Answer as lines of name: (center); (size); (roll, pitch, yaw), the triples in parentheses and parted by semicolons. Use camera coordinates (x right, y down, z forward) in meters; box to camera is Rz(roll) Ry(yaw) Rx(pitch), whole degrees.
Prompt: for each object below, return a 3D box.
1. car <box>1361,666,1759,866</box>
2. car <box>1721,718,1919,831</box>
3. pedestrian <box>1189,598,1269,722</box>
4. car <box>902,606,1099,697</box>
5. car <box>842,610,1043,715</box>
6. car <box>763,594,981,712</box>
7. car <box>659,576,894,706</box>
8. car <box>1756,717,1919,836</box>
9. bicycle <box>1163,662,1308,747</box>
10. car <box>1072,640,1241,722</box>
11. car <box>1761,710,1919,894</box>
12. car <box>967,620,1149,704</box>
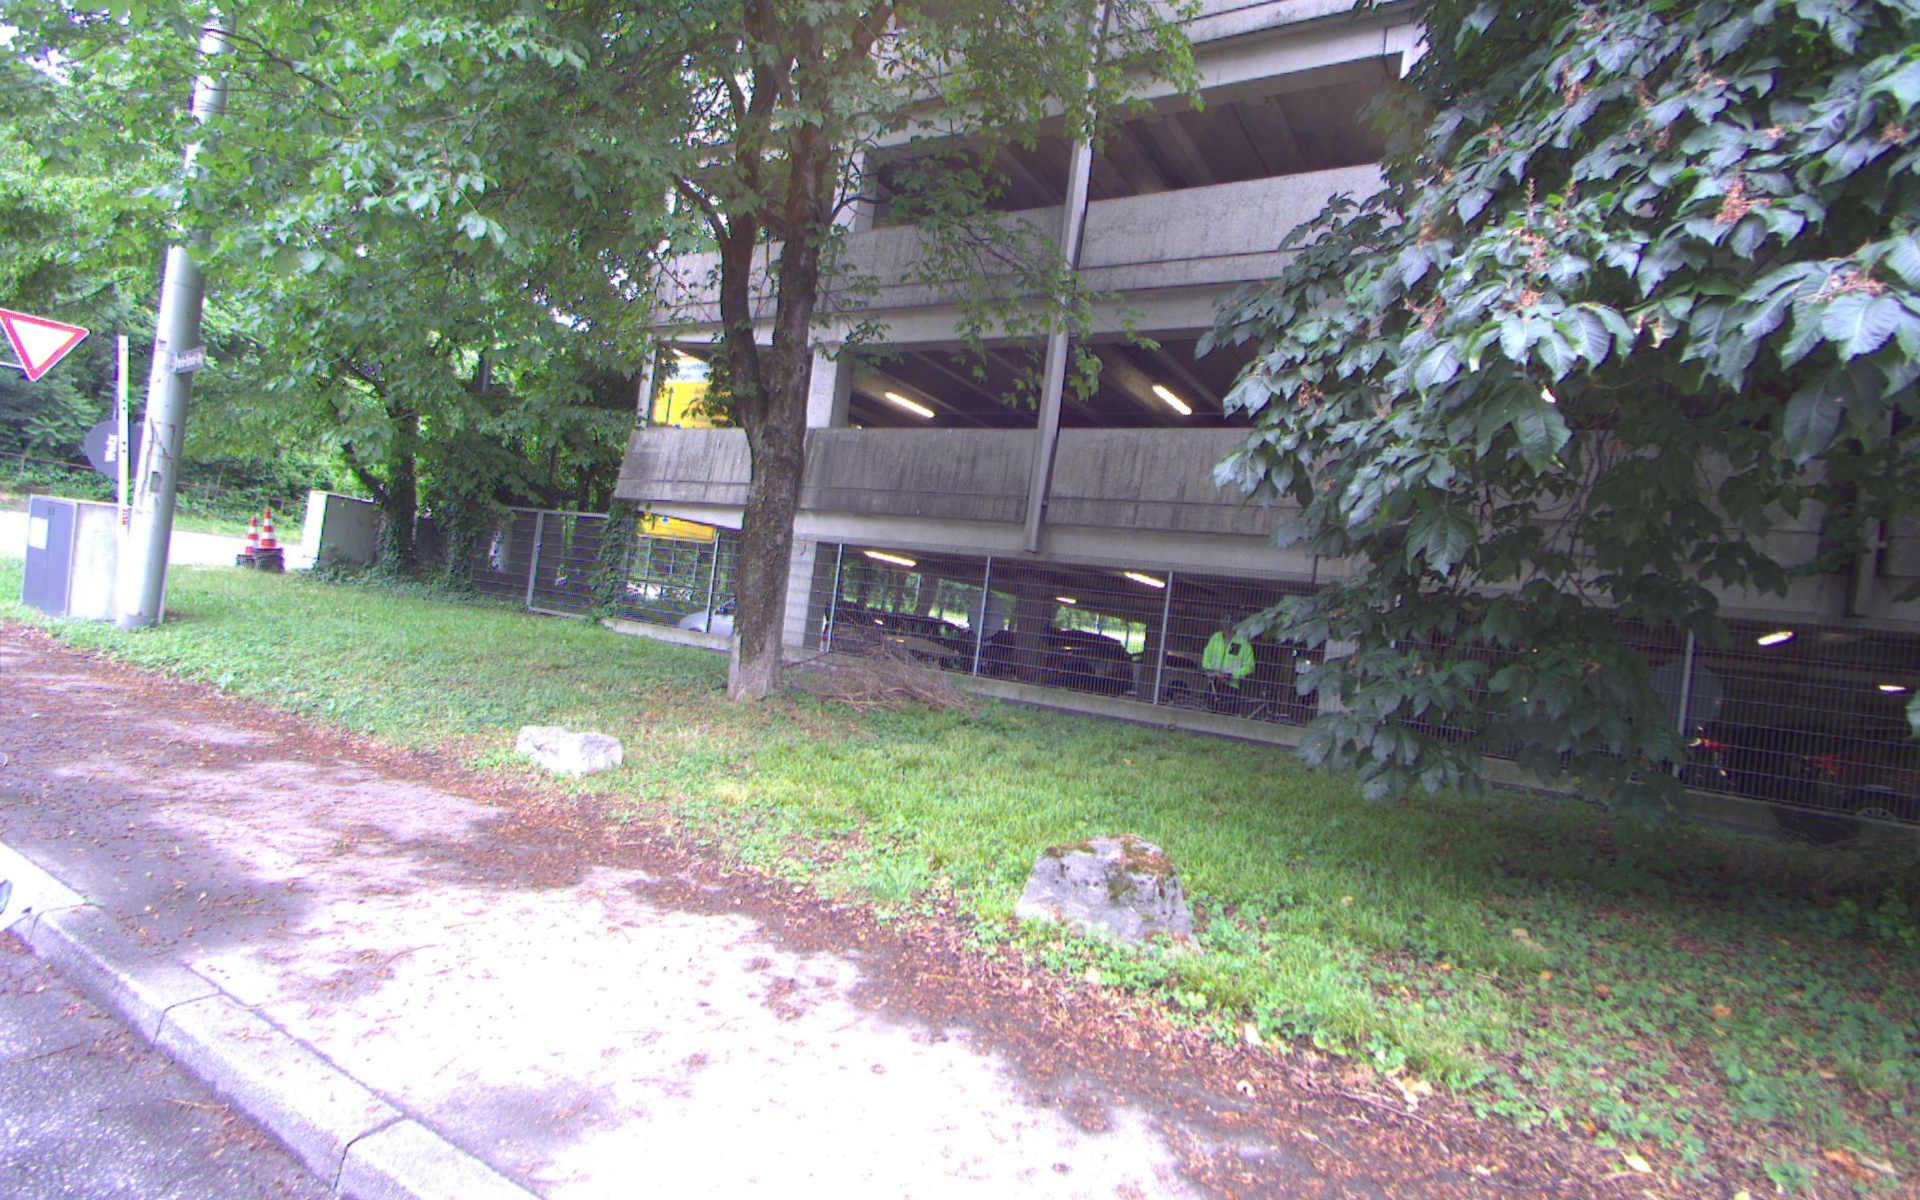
car: (8.614, 2.296, 14.841); (4.597, 2.036, 1.998); (5, -3, 31)
car: (16.594, 3.249, 18.656); (3.640, 1.625, 1.721); (5, -3, 30)
pedestrian: (3.127, 0.703, 11.665); (0.626, 1.332, 0.642); (5, -3, 31)
car: (0.918, 1.185, 23.223); (3.934, 1.569, 1.998); (5, -3, 32)
car: (-0.379, 1.287, 20.886); (3.658, 1.682, 1.734); (5, -3, 32)
car: (-1.673, 0.979, 18.829); (3.707, 1.727, 1.584); (5, -3, 32)
car: (-3.119, 0.664, 16.904); (3.658, 1.727, 1.484); (5, -3, 32)
car: (15.604, 2.997, 16.522); (3.640, 1.625, 1.721); (5, -3, 30)
bicycle: (3.113, 1.171, 11.384); (1.469, 0.744, 0.448); (6, -3, 24)
car: (6.132, 2.528, 31.559); (4.658, 1.855, 1.923); (6, -3, 33)
car: (12.664, 2.661, 12.473); (3.935, 2.036, 1.997); (5, -3, 33)
car: (2.434, 1.535, 25.160); (3.934, 1.569, 1.998); (5, -3, 32)
